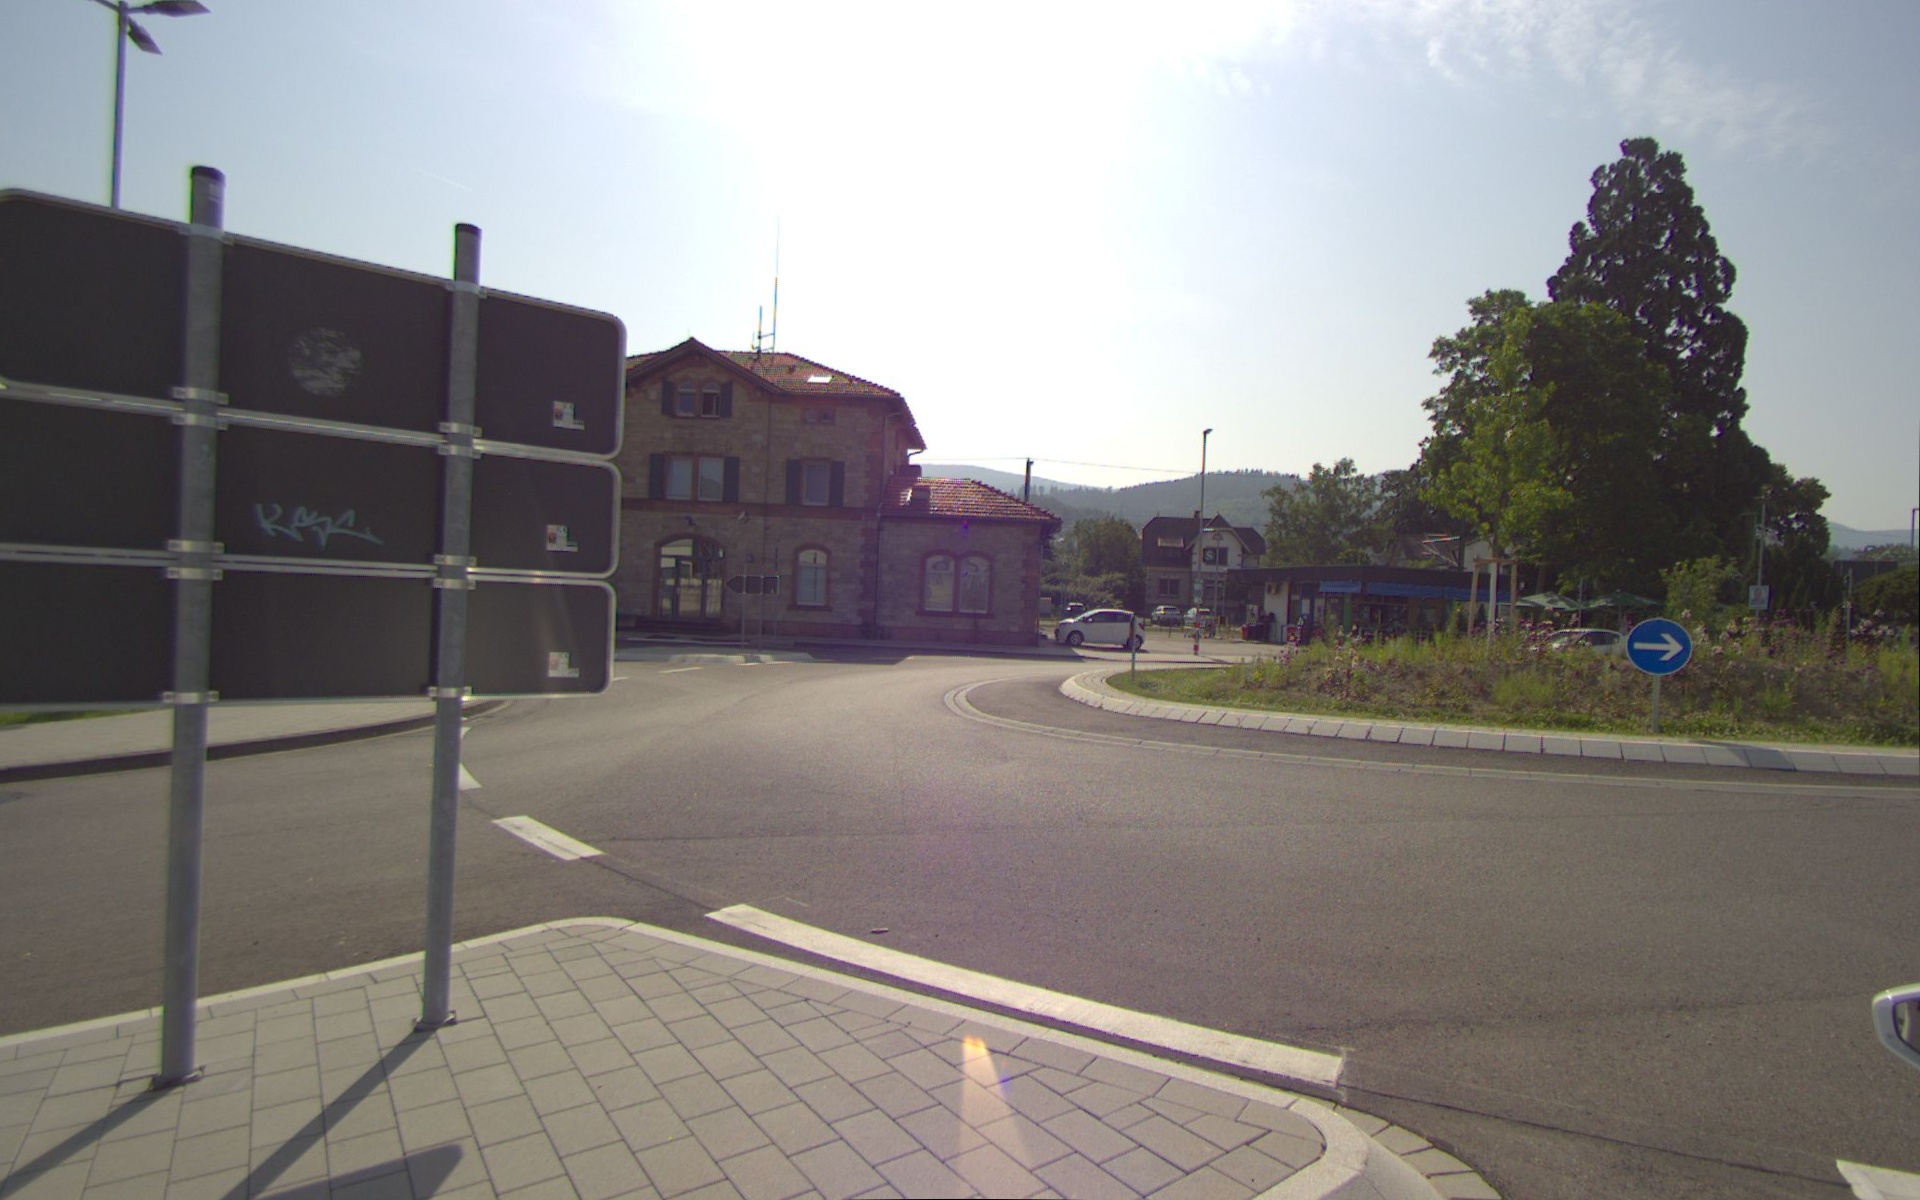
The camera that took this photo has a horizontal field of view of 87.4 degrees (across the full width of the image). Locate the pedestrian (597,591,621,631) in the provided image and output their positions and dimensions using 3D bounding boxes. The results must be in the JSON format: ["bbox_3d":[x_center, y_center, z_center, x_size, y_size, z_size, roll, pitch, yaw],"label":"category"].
[{"bbox_3d":[-12.290,0.389,35.192,0.541,1.367,0.567,3,-1,1],"label":"pedestrian"}]

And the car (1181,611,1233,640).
[{"bbox_3d":[12.705,1.313,51.817,1.390,1.344,3.591,2,0,-6],"label":"car"}]

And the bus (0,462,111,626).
[{"bbox_3d":[-24.461,-1.283,19.978,11.508,3.165,3.070,2,0,-9],"label":"bus"}]

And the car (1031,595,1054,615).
[{"bbox_3d":[6.973,0.458,85.223,1.581,1.554,3.581,3,-1,-1],"label":"car"}]

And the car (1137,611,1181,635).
[{"bbox_3d":[11.342,1.300,57.343,1.425,1.283,3.262,3,-1,-7],"label":"car"}]

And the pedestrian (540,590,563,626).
[{"bbox_3d":[-14.387,0.295,35.346,0.573,1.220,0.443,3,-1,-2],"label":"pedestrian"}]

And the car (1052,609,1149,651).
[{"bbox_3d":[5.432,1.141,38.979,3.469,1.469,1.392,2,0,-3],"label":"car"}]

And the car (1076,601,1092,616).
[{"bbox_3d":[11.760,0.820,95.630,1.364,1.382,3.539,2,0,6],"label":"car"}]

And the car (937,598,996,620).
[{"bbox_3d":[0.440,0.642,71.532,3.928,1.358,1.609,3,-1,-10],"label":"car"}]

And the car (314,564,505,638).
[{"bbox_3d":[-16.918,0.051,31.031,4.786,1.971,1.846,3,-1,0],"label":"car"}]

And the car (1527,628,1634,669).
[{"bbox_3d":[20.005,1.563,32.381,3.199,1.187,1.384,2,0,-24],"label":"car"}]
